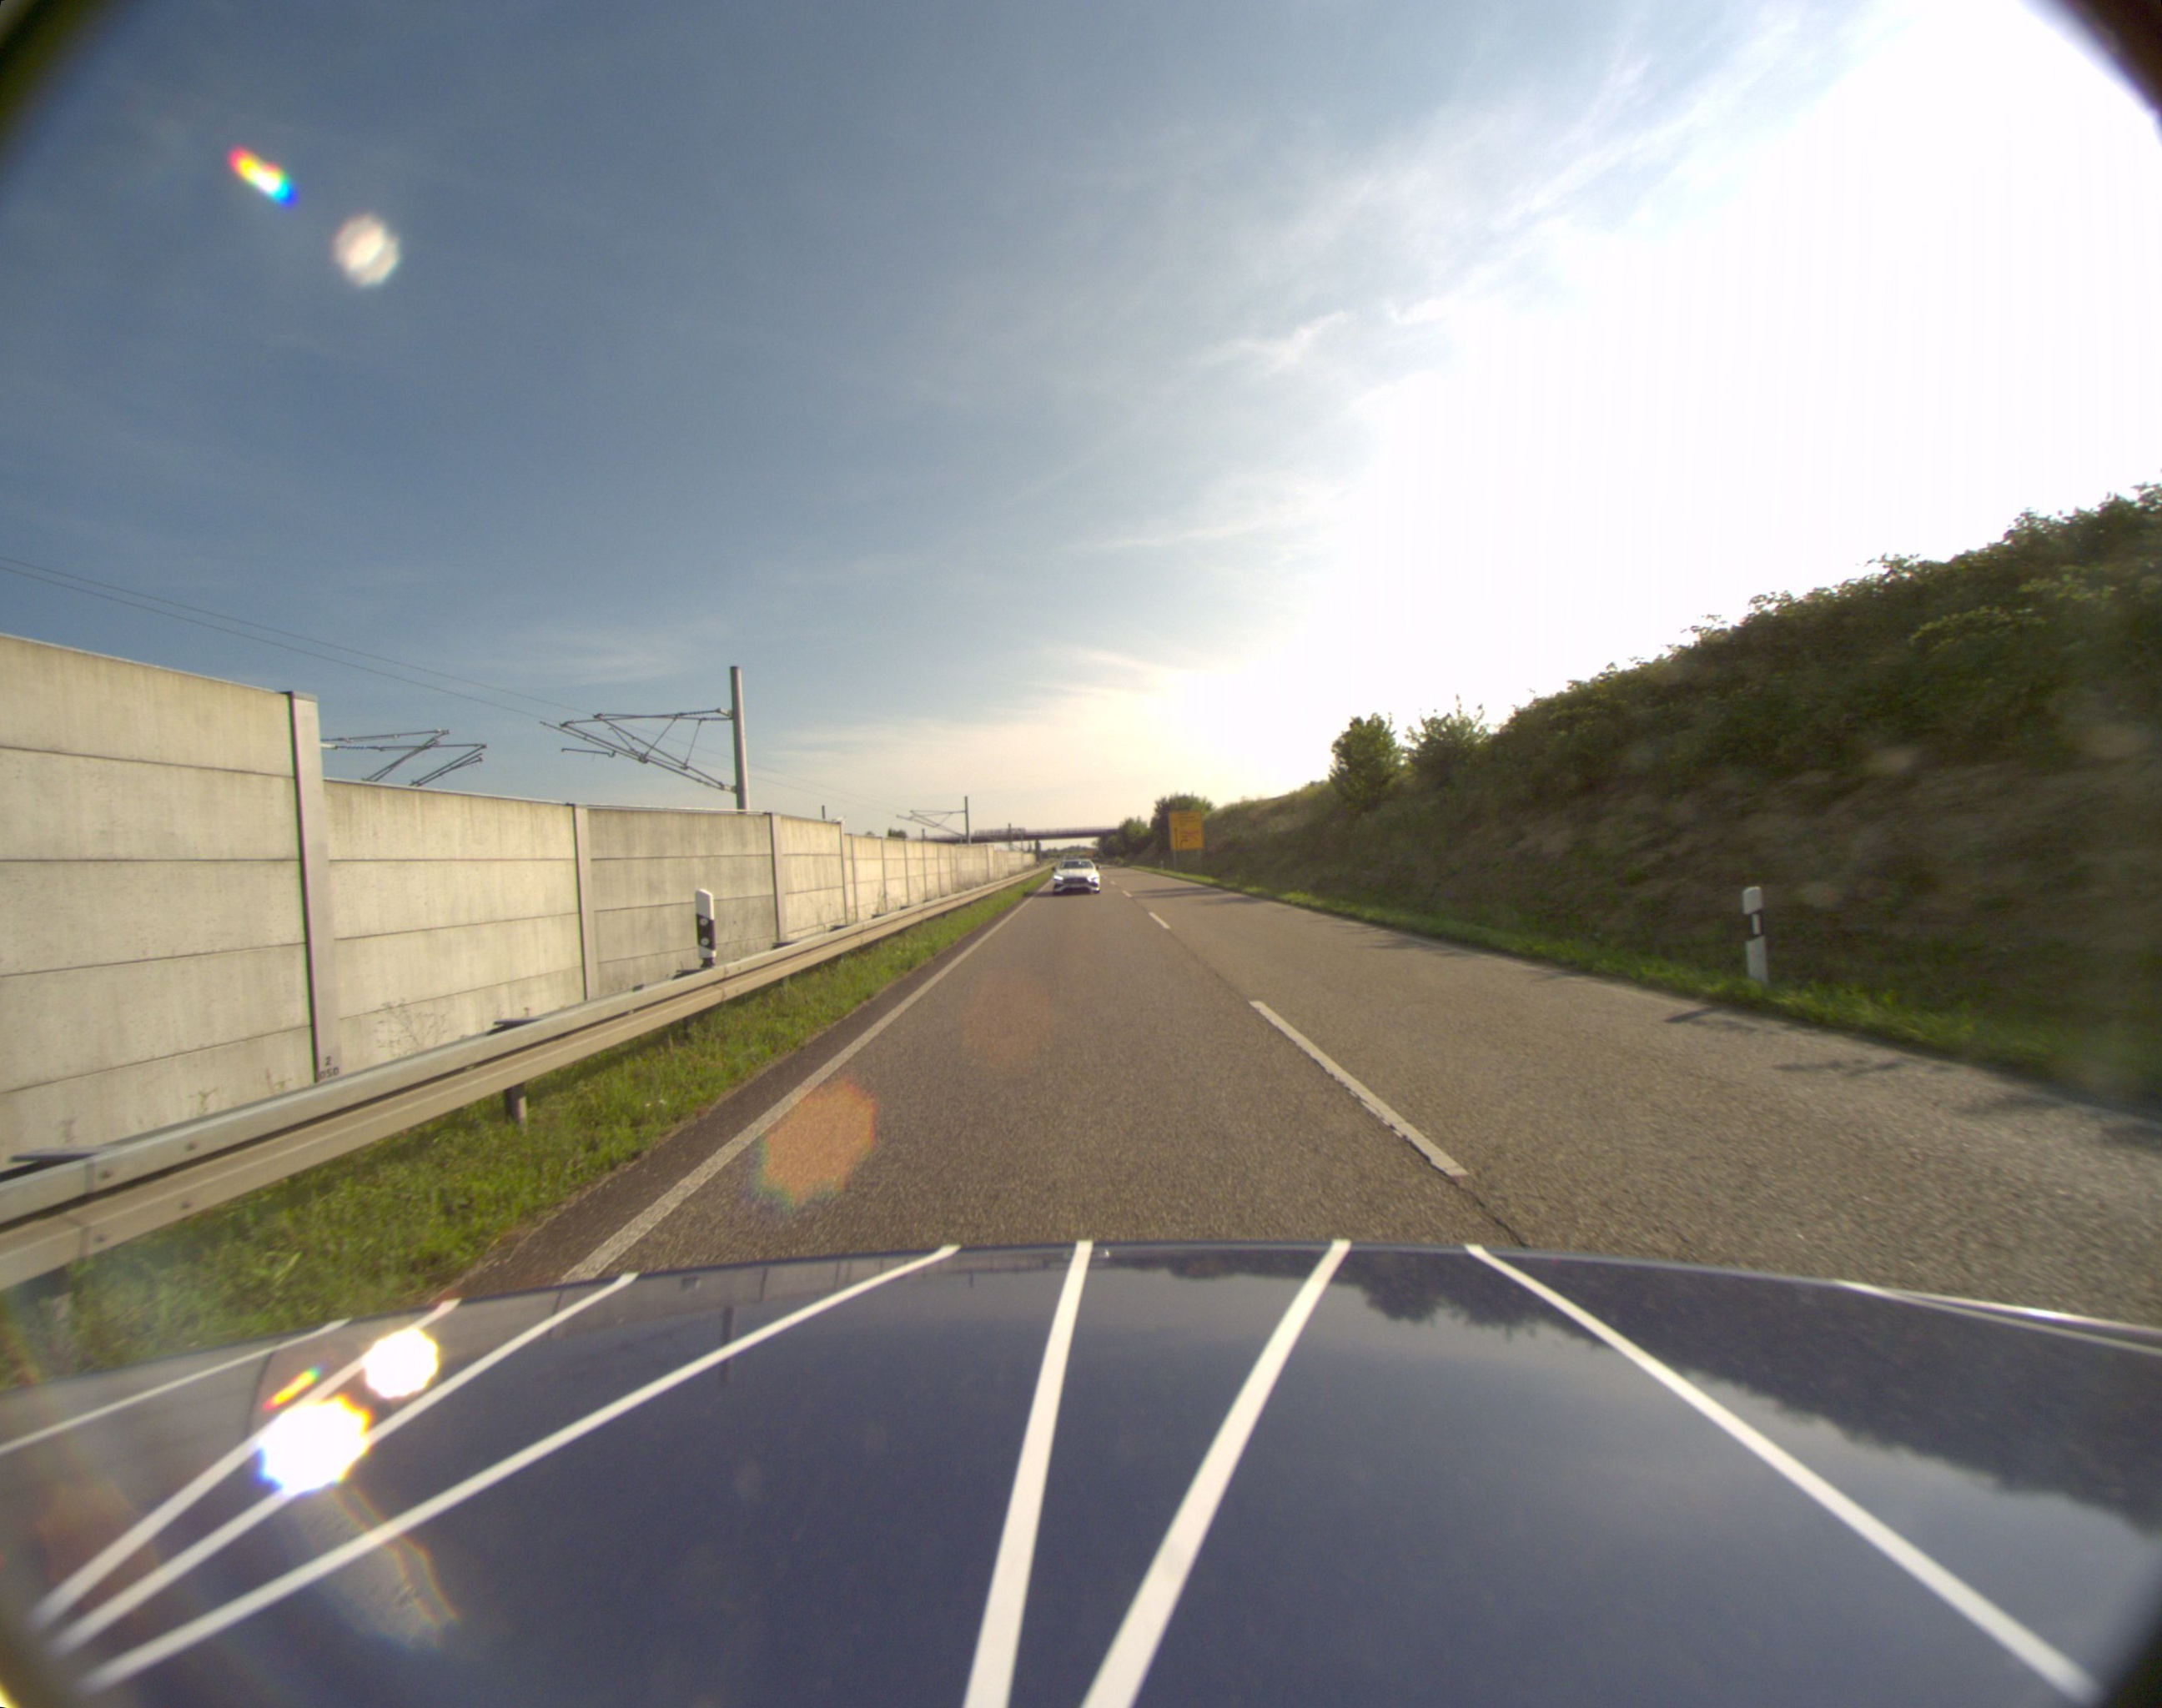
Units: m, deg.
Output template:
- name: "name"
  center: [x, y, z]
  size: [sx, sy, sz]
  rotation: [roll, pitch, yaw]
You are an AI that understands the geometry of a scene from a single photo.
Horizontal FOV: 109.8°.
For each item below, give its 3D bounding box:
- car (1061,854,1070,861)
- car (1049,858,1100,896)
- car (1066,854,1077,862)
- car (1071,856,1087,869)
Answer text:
- name: "car"
  center: [-3.602, 0.722, 174.765]
  size: [1.930, 1.399, 4.973]
  rotation: [-1, 1, 0]
- name: "car"
  center: [-0.249, 0.899, 31.887]
  size: [1.930, 1.399, 4.973]
  rotation: [-2, 0, 0]
- name: "car"
  center: [-1.784, 0.723, 139.037]
  size: [1.930, 1.399, 4.973]
  rotation: [-1, 1, 0]
- name: "car"
  center: [-0.296, 1.049, 93.478]
  size: [1.930, 1.399, 4.972]
  rotation: [-1, 1, -1]
